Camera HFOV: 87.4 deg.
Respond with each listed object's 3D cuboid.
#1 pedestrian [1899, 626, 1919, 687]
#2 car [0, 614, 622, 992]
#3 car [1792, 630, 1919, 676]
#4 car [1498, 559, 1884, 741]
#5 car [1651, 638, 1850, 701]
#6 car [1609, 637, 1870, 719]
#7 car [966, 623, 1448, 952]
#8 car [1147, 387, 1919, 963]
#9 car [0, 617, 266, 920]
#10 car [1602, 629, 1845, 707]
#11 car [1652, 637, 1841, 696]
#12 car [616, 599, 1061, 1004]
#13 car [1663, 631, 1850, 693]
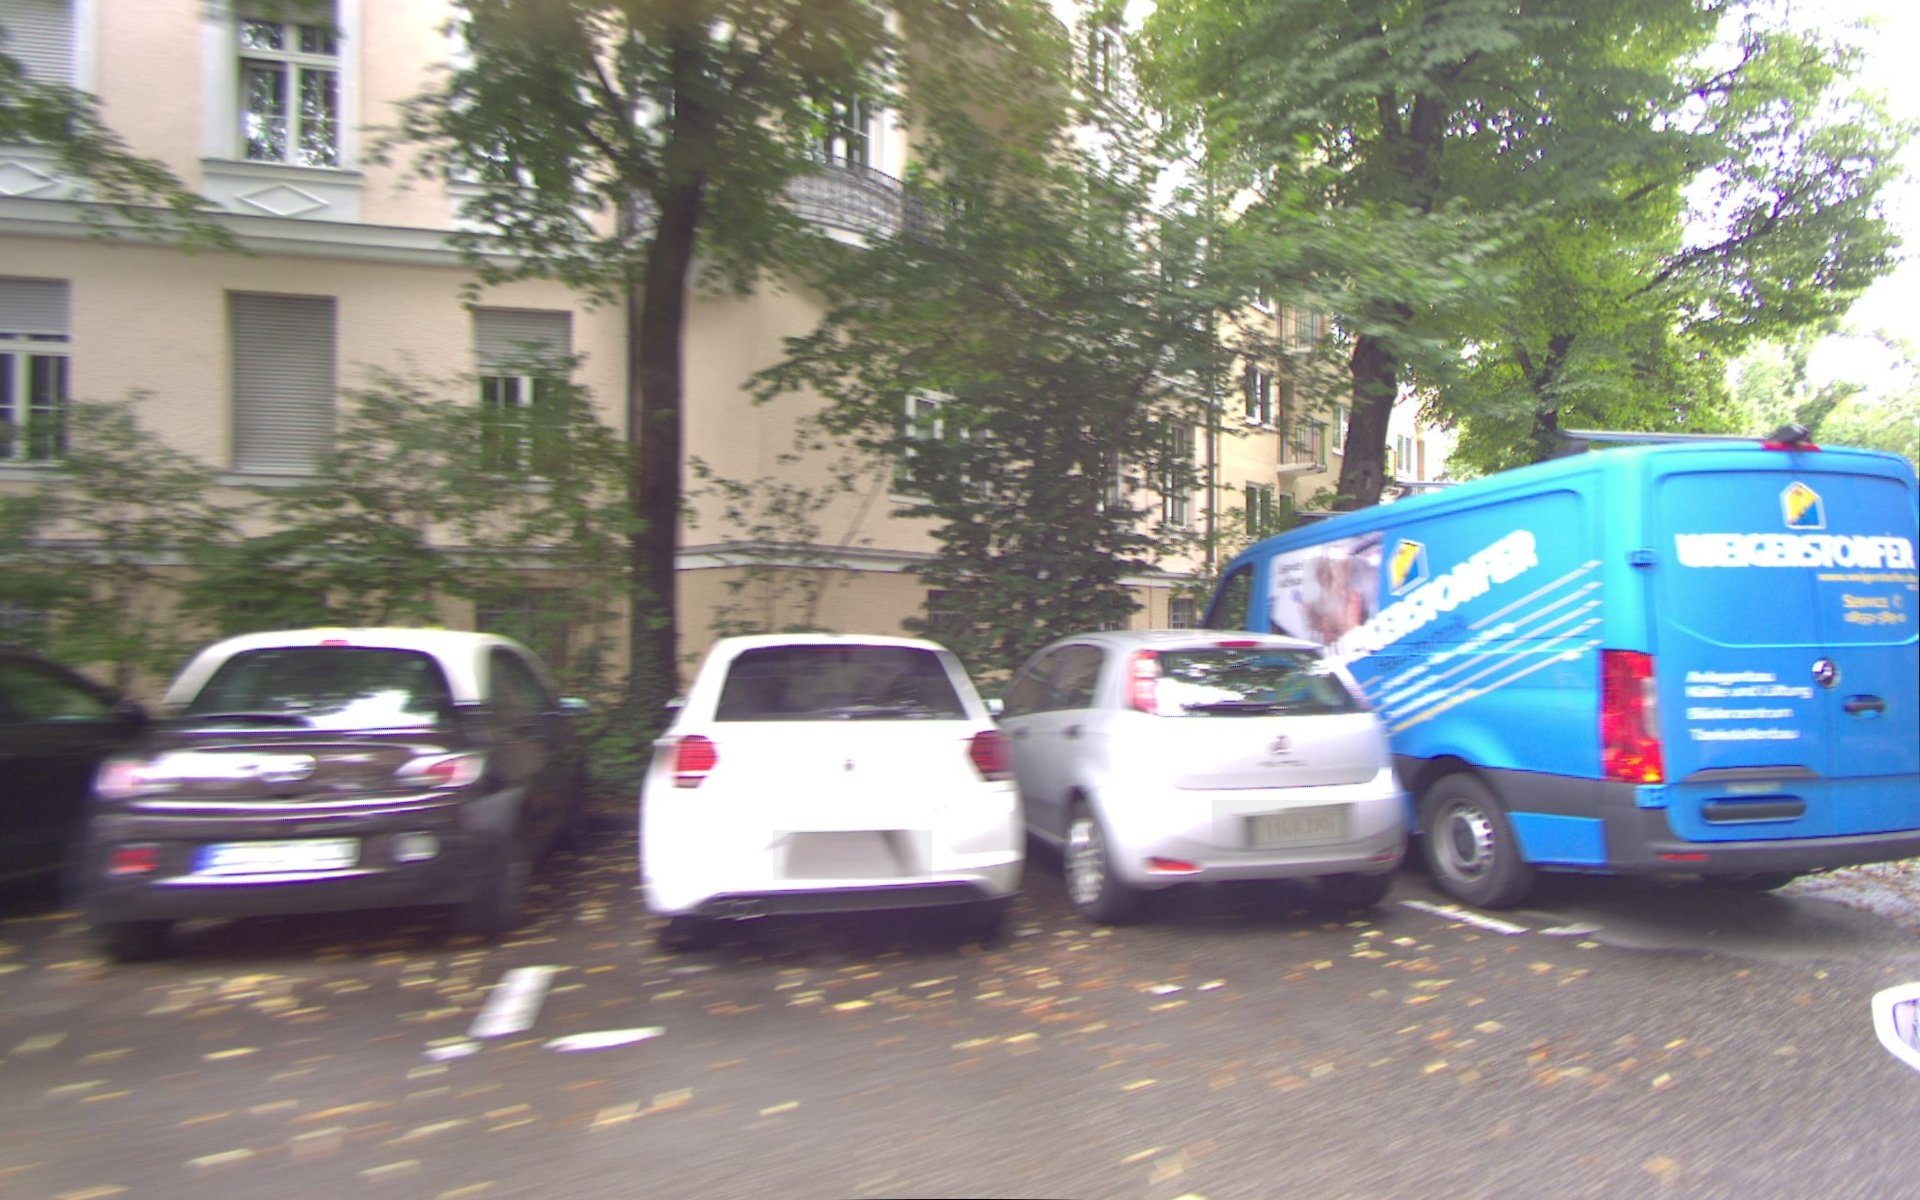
[{"bbox_3d":[26.496,1.552,27.773,0.756,1.639,0.771,-1,1,-45],"label":"pedestrian"},{"bbox_3d":[-3.173,0.944,5.897,1.801,1.443,3.744,0,-5,-12],"label":"car"},{"bbox_3d":[32.951,1.886,35.896,1.828,1.515,4.758,1,-1,-42],"label":"car"},{"bbox_3d":[11.136,0.760,15.752,1.879,2.408,4.556,1,-3,-25],"label":"car"},{"bbox_3d":[19.910,1.693,25.401,3.836,1.460,1.731,-2,-2,42],"label":"car"},{"bbox_3d":[15.322,1.456,19.882,3.944,1.452,1.726,-2,-2,43],"label":"car"},{"bbox_3d":[1.184,0.925,6.364,1.615,1.451,3.547,1,-3,-11],"label":"car"},{"bbox_3d":[3.324,0.480,7.064,2.029,2.384,5.486,1,-4,-12],"label":"car"},{"bbox_3d":[-5.538,0.823,4.980,1.830,1.444,4.157,0,-4,-10],"label":"car"},{"bbox_3d":[18.192,1.542,24.094,1.822,1.618,4.407,2,-1,-42],"label":"car"},{"bbox_3d":[21.378,1.754,27.392,3.944,1.483,1.726,-2,-2,43],"label":"car"},{"bbox_3d":[-0.921,0.956,6.142,1.772,1.532,4.278,0,-5,-13],"label":"car"},{"bbox_3d":[22.951,1.724,29.033,4.117,1.622,1.726,-2,-1,43],"label":"car"}]
